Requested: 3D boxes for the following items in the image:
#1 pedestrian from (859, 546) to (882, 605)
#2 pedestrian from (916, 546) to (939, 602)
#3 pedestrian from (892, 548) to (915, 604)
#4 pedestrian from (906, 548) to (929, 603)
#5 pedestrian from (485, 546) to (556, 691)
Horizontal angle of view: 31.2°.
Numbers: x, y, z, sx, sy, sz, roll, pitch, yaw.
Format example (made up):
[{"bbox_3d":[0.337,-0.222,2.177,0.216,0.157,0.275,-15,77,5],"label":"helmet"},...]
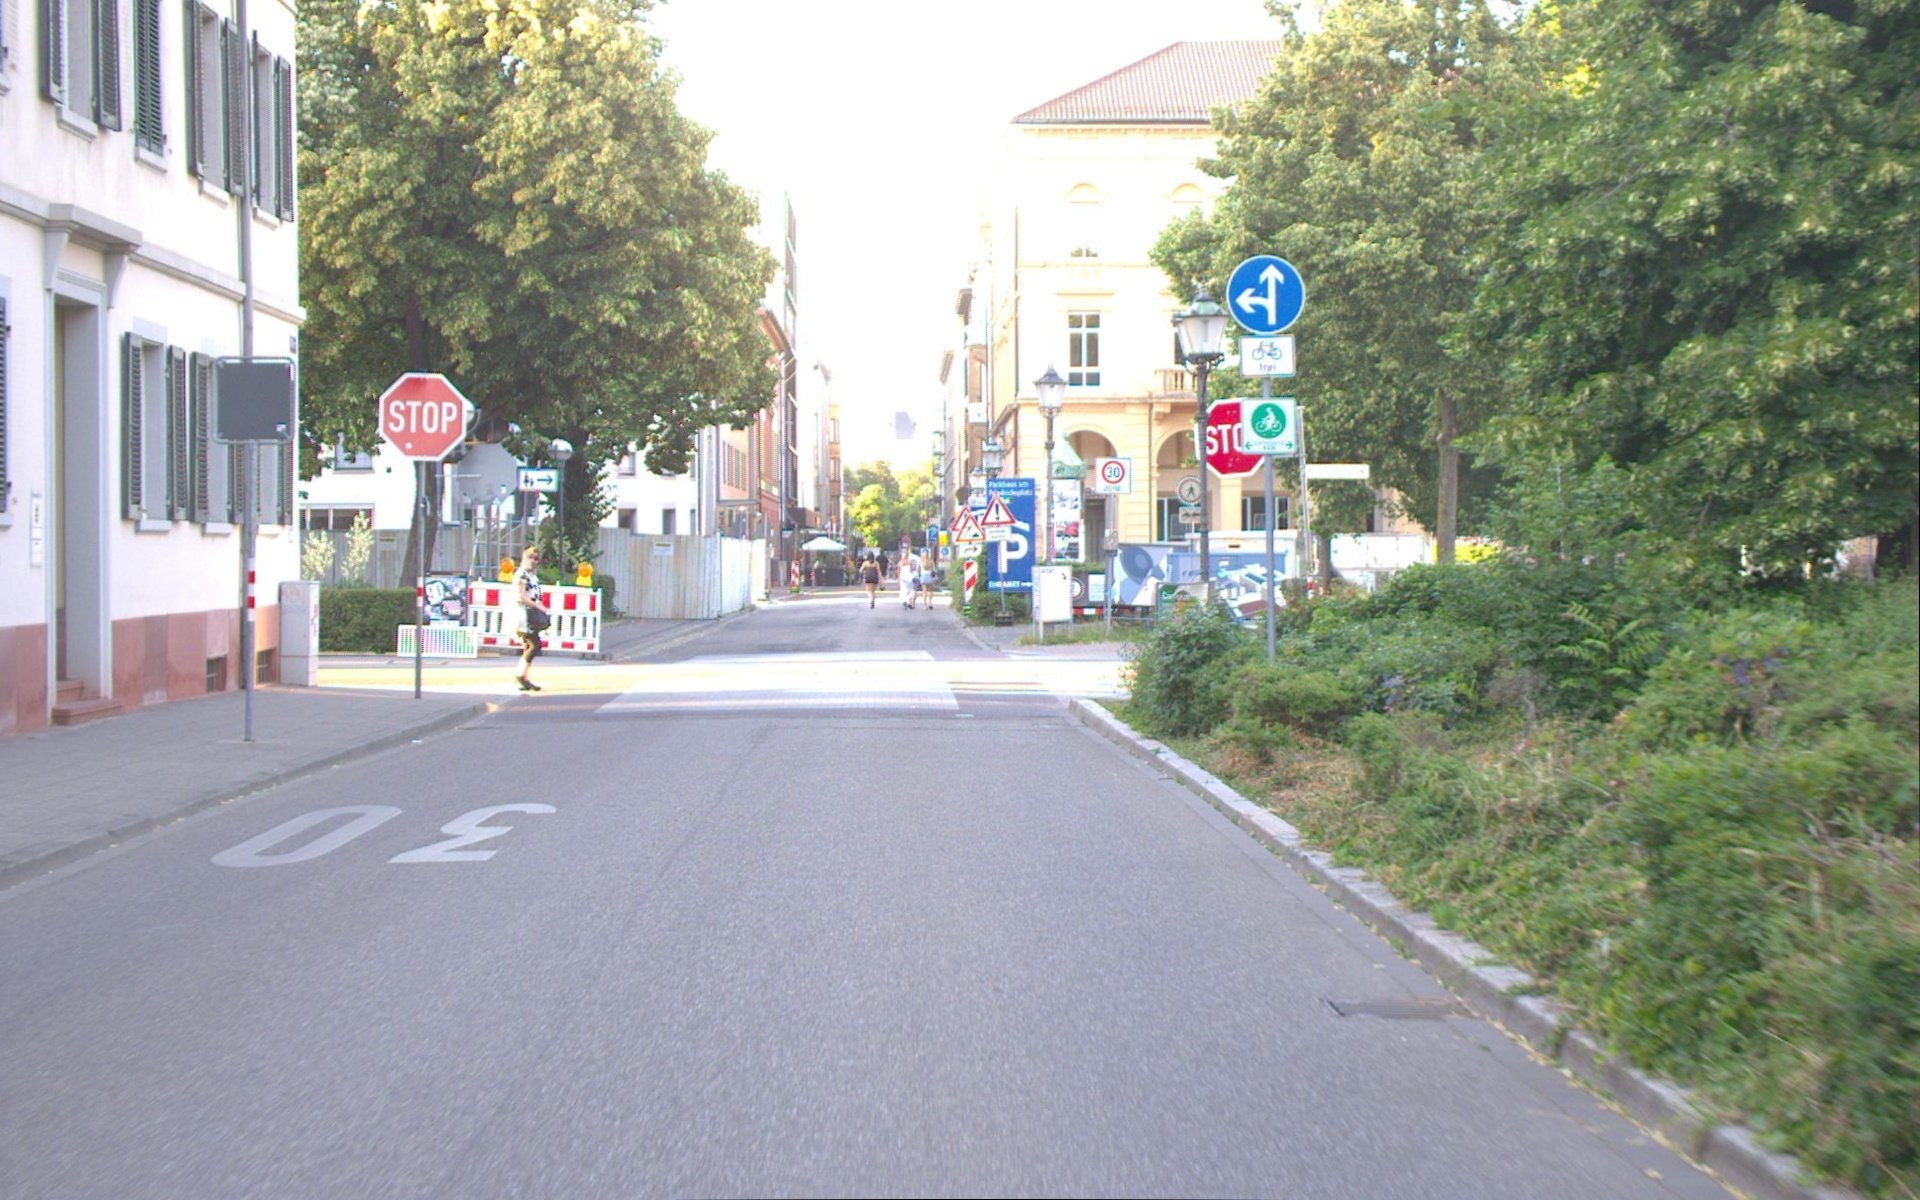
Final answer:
[{"bbox_3d":[-2.680,-0.732,102.900,0.657,1.754,0.745,-1,1,0],"label":"pedestrian"},{"bbox_3d":[-0.953,-0.771,101.262,0.657,1.611,0.745,-1,1,-1],"label":"pedestrian"},{"bbox_3d":[-1.672,-0.707,101.279,0.657,1.611,0.745,-1,1,-1],"label":"pedestrian"},{"bbox_3d":[-1.280,-0.726,102.848,0.657,1.630,0.745,-1,1,-1],"label":"pedestrian"},{"bbox_3d":[-5.189,0.210,40.622,0.734,1.683,0.836,-1,1,-1],"label":"pedestrian"}]
